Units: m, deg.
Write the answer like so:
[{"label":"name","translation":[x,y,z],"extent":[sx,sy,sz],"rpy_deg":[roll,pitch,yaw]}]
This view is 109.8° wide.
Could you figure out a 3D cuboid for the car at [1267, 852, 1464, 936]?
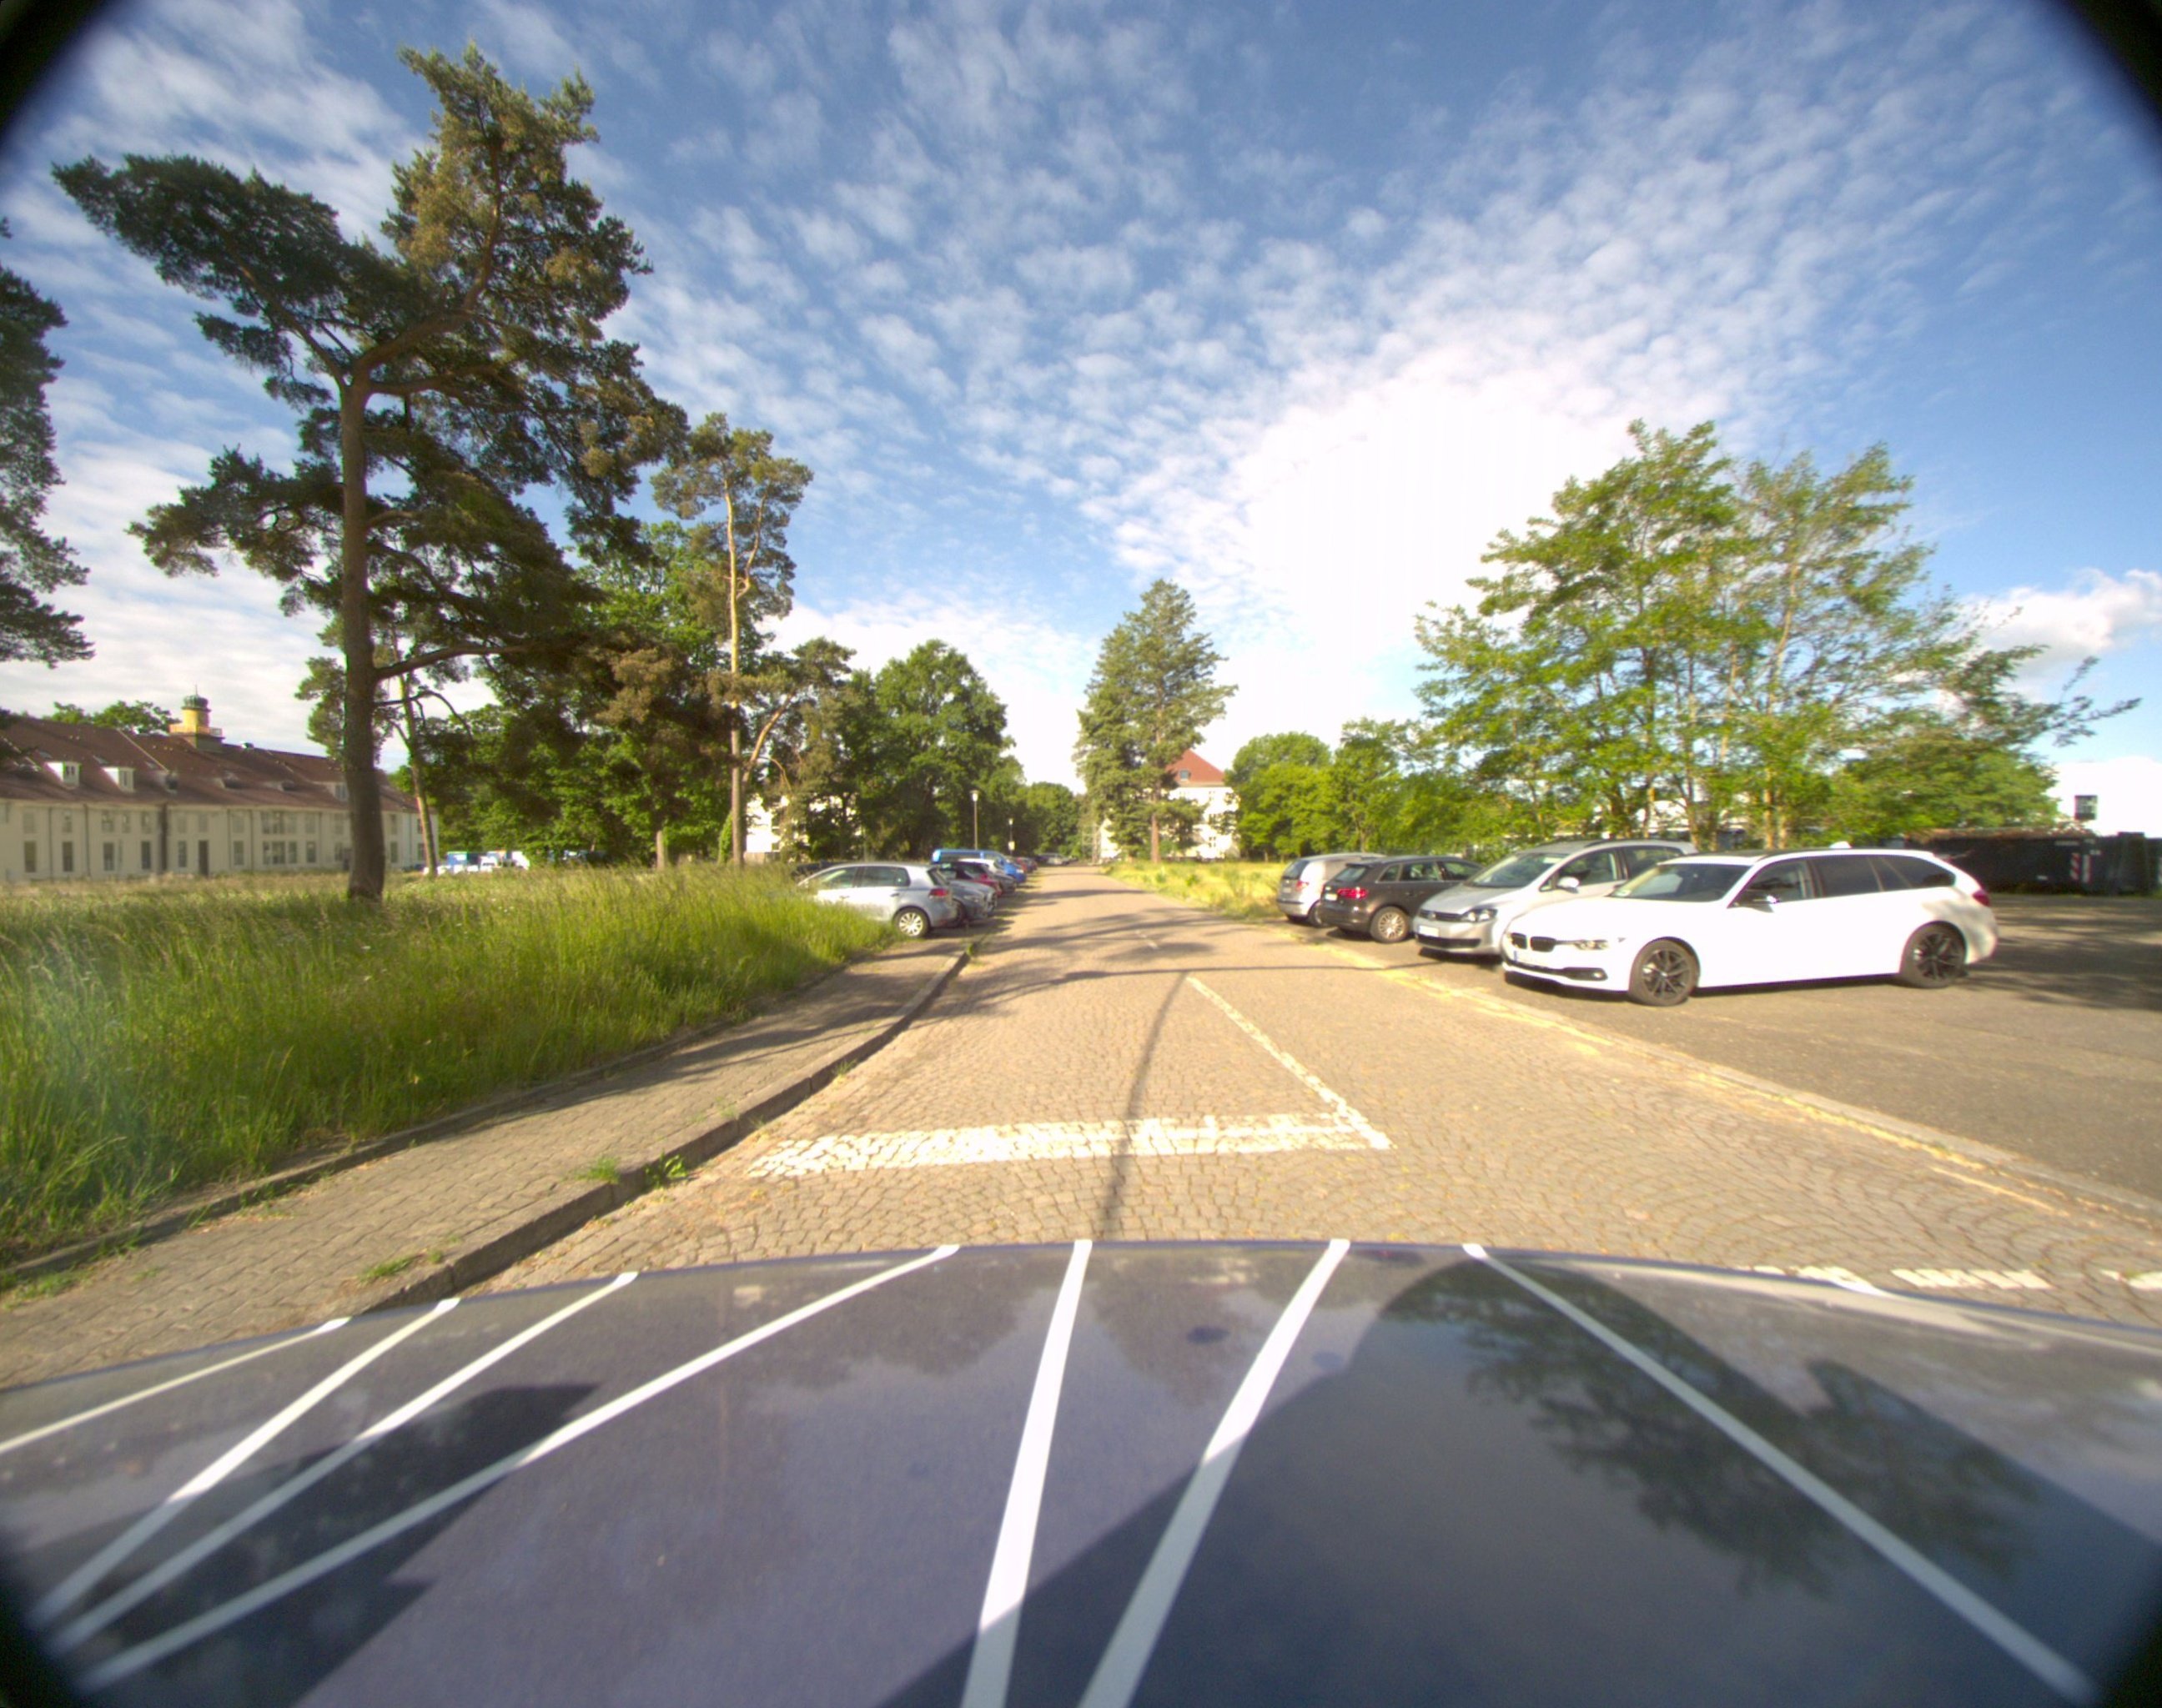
[{"label":"car","translation":[5.923,0.799,16.062],"extent":[3.475,1.462,1.636],"rpy_deg":[-4,1,-4]}]

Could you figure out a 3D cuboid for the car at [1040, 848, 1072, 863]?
[{"label":"car","translation":[-3.937,0.247,121.589],"extent":[5.069,2.251,1.999],"rpy_deg":[-1,1,-2]}]

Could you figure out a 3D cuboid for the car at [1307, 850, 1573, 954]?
[{"label":"car","translation":[6.150,0.778,13.306],"extent":[3.807,1.462,1.687],"rpy_deg":[-4,1,-2]}]

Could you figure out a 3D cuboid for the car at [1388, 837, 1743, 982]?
[{"label":"car","translation":[6.667,0.693,10.683],"extent":[3.955,1.616,1.721],"rpy_deg":[-3,1,-6]}]

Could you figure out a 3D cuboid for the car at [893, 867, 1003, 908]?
[{"label":"car","translation":[-4.278,1.069,24.757],"extent":[3.357,1.248,1.419],"rpy_deg":[-1,1,-2]}]

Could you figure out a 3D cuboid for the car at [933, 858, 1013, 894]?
[{"label":"car","translation":[-4.671,0.958,33.229],"extent":[3.265,1.482,1.449],"rpy_deg":[-1,1,1]}]

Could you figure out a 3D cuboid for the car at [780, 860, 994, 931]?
[{"label":"car","translation":[-4.303,0.909,17.458],"extent":[4.508,1.508,1.825],"rpy_deg":[0,0,-5]}]

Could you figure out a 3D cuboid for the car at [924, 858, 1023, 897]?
[{"label":"car","translation":[-4.270,0.924,30.387],"extent":[3.621,1.482,1.508],"rpy_deg":[-1,1,8]}]

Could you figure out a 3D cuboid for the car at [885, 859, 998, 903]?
[{"label":"car","translation":[-4.956,0.961,27.363],"extent":[3.780,1.482,1.549],"rpy_deg":[-1,1,-2]}]

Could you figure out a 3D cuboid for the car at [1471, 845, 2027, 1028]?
[{"label":"car","translation":[6.887,0.770,8.122],"extent":[4.554,1.459,1.752],"rpy_deg":[-3,0,-5]}]

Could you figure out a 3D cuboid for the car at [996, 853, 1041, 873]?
[{"label":"car","translation":[-5.920,0.825,72.629],"extent":[3.996,1.605,1.756],"rpy_deg":[-3,2,3]}]

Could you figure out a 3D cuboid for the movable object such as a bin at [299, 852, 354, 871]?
[{"label":"movable object such as a bin","translation":[-92.595,0.863,93.301],"extent":[1.999,2.309,4.984],"rpy_deg":[-1,0,-5]}]

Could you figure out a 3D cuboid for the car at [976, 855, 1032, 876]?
[{"label":"car","translation":[-5.826,0.868,57.885],"extent":[3.996,1.509,1.757],"rpy_deg":[-1,1,1]}]

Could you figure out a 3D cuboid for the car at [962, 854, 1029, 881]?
[{"label":"car","translation":[-5.313,0.843,47.537],"extent":[3.996,1.630,1.757],"rpy_deg":[-1,1,1]}]

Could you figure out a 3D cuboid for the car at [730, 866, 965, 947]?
[{"label":"car","translation":[-4.417,0.971,14.886],"extent":[4.026,1.452,1.870],"rpy_deg":[0,1,-2]}]

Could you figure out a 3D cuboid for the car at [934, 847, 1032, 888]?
[{"label":"car","translation":[-4.907,0.662,38.607],"extent":[4.727,2.002,2.000],"rpy_deg":[-1,1,0]}]

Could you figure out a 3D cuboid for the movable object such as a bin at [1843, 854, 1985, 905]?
[{"label":"movable object such as a bin","translation":[19.189,0.579,17.536],"extent":[2.285,1.101,0.997],"rpy_deg":[-1,1,-3]}]

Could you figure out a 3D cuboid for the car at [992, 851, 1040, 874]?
[{"label":"car","translation":[-5.827,0.737,68.075],"extent":[3.997,1.731,1.756],"rpy_deg":[-4,2,1]}]

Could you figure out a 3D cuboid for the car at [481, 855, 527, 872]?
[{"label":"car","translation":[-70.489,1.133,92.981],"extent":[1.999,2.002,4.772],"rpy_deg":[-1,0,-1]}]

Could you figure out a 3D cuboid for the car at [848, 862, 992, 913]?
[{"label":"car","translation":[-4.684,0.962,22.466],"extent":[3.918,1.385,1.660],"rpy_deg":[1,1,-2]}]

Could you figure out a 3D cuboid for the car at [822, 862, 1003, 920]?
[{"label":"car","translation":[-4.375,0.958,20.246],"extent":[4.423,1.394,1.825],"rpy_deg":[1,0,-3]}]
